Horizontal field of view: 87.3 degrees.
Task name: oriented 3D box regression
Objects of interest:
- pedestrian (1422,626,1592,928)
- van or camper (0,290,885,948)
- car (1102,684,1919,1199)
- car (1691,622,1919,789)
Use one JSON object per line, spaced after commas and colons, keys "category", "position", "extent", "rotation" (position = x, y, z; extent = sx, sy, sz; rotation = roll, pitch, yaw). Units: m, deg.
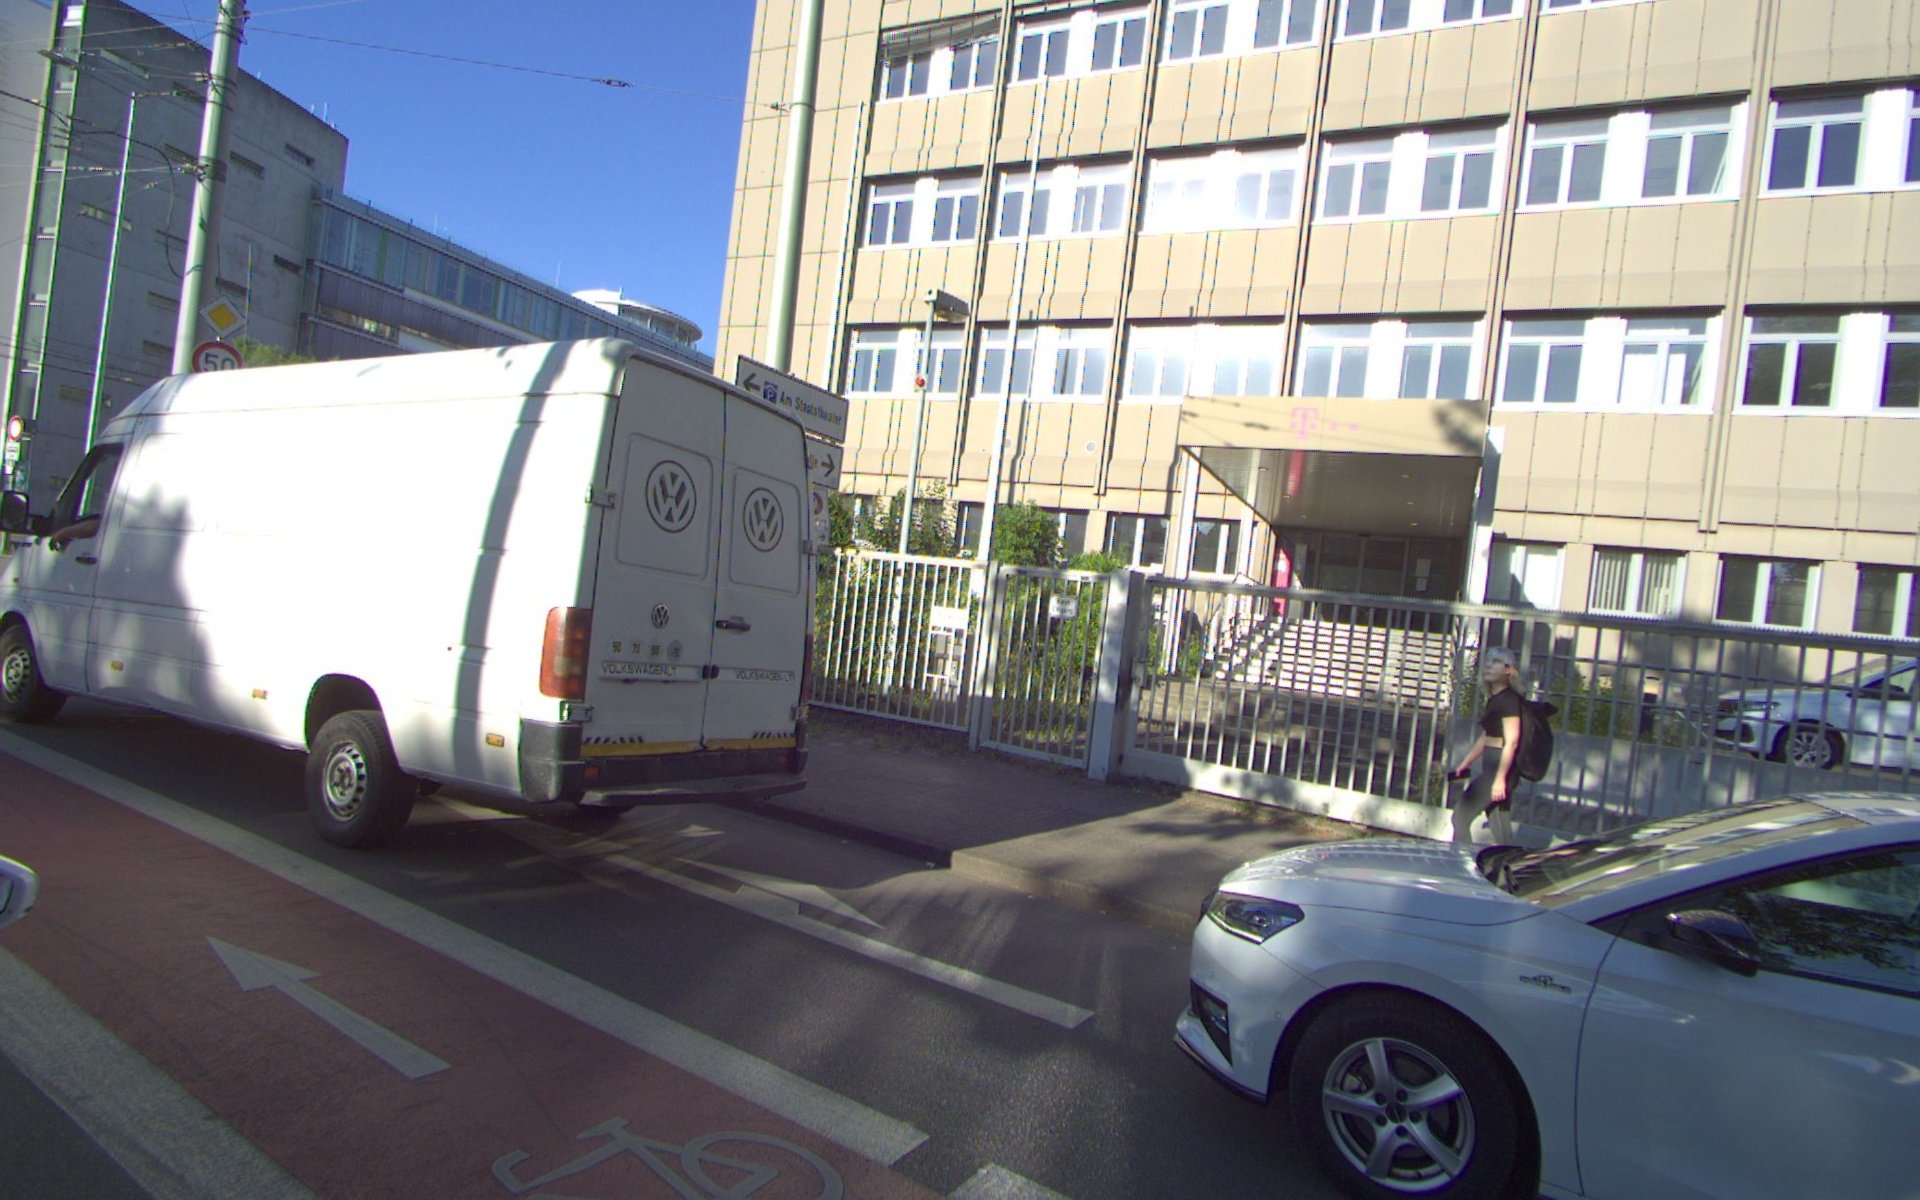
{"category": "pedestrian", "position": [3.597, 1.113, 6.625], "extent": [0.757, 1.784, 0.591], "rotation": [7, 1, 32]}
{"category": "van or camper", "position": [-3.768, -0.154, 6.537], "extent": [6.196, 2.748, 1.973], "rotation": [7, -1, 29]}
{"category": "car", "position": [2.683, 1.252, 3.019], "extent": [4.006, 1.405, 1.705], "rotation": [7, -1, 30]}
{"category": "car", "position": [12.810, 1.530, 13.252], "extent": [4.701, 1.865, 1.998], "rotation": [7, 0, 27]}
